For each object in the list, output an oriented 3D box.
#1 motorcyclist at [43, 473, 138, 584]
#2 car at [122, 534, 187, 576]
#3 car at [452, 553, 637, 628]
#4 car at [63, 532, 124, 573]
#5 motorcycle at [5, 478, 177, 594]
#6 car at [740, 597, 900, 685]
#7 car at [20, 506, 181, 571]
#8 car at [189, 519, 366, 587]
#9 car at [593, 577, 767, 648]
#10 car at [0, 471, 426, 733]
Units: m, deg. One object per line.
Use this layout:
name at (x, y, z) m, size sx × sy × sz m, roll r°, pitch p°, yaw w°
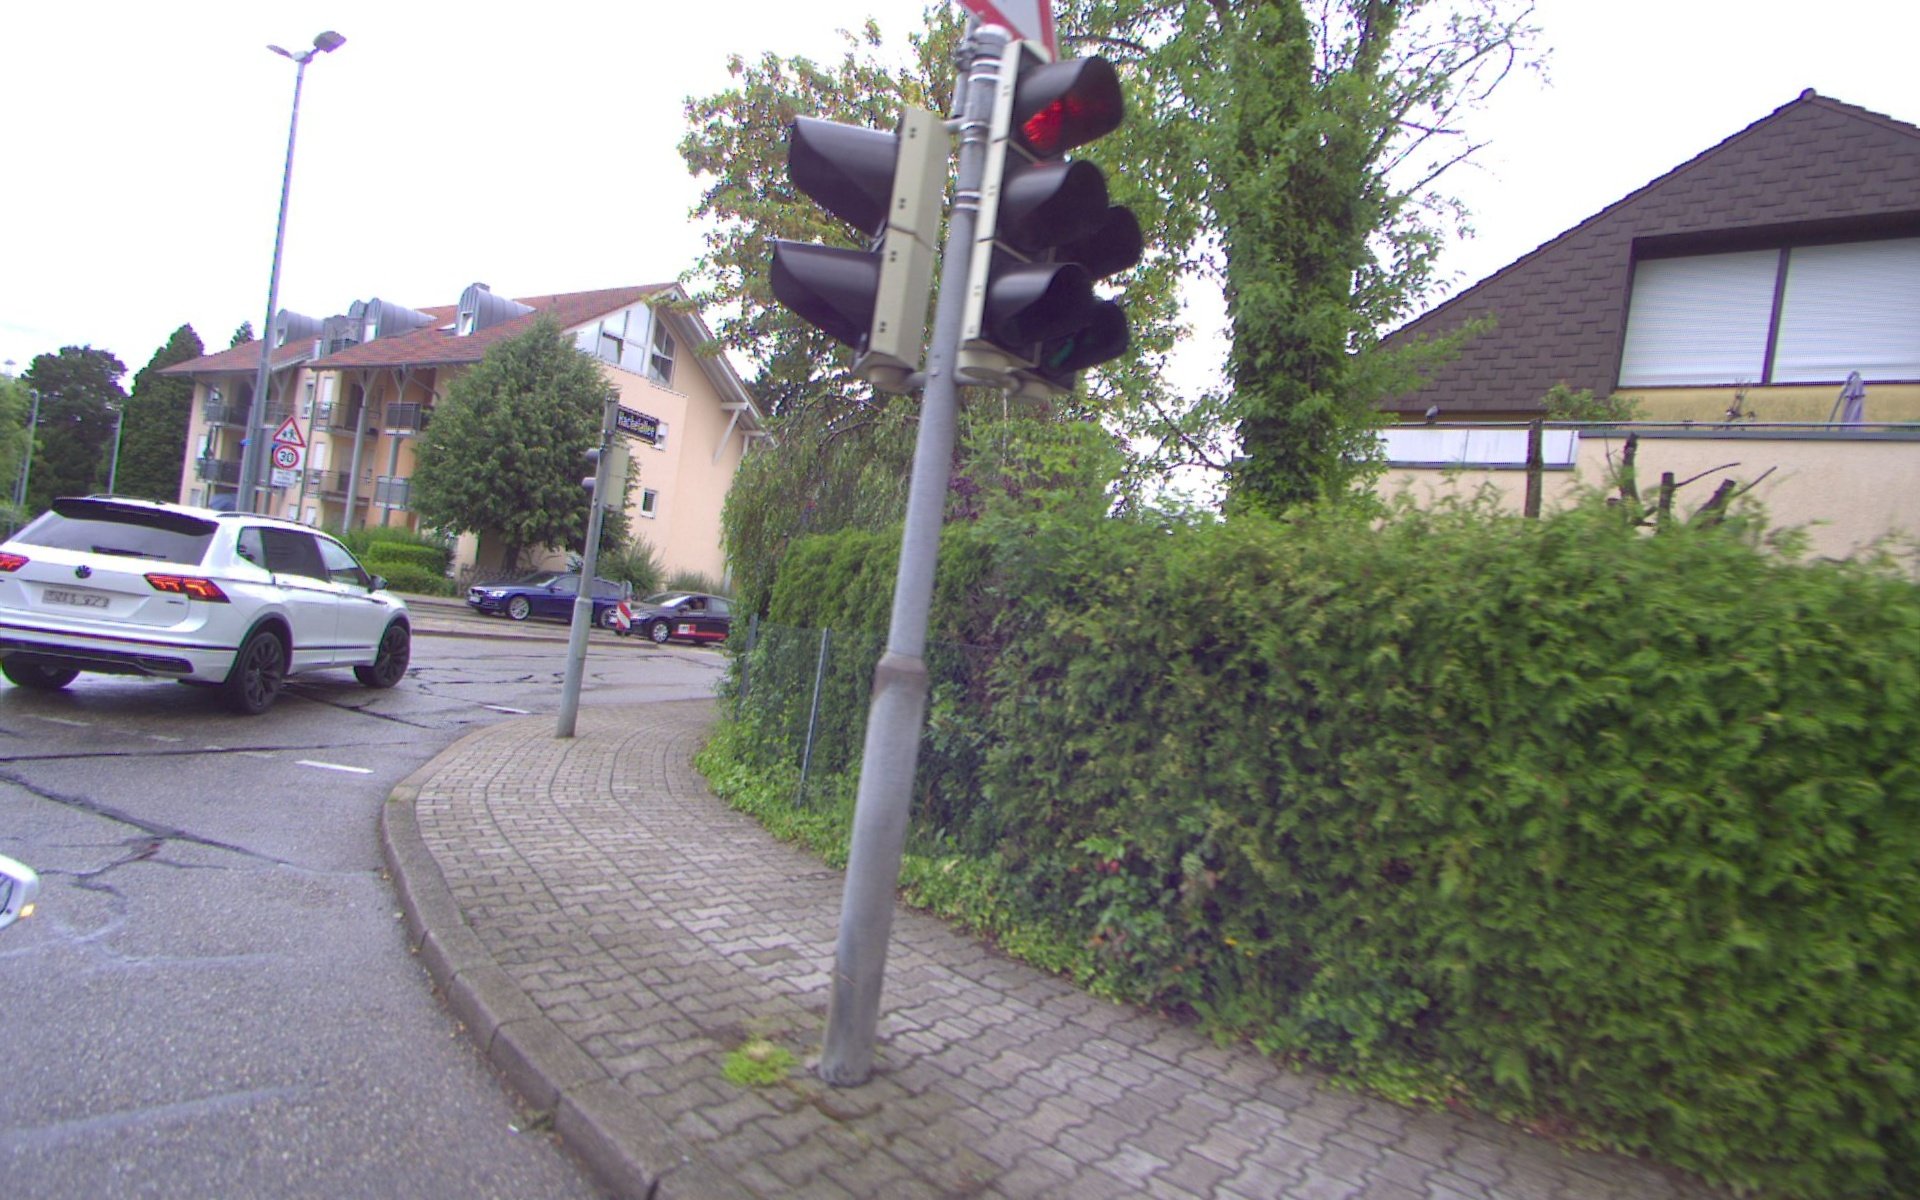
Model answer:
motorcyclist at (-13.996, -1.145, 16.197) m, size 0.761 × 1.645 × 0.935 m, roll 7°, pitch 2°, yaw 36°
car at (-35.542, -1.989, 44.359) m, size 1.756 × 1.425 × 3.813 m, roll 7°, pitch 0°, yaw -44°
car at (-11.392, -0.227, 27.845) m, size 1.733 × 1.452 × 4.339 m, roll 7°, pitch -1°, yaw 38°
car at (-38.740, -2.140, 44.950) m, size 1.756 × 1.425 × 3.813 m, roll 7°, pitch 0°, yaw -44°
motorcycle at (-13.986, -0.999, 16.237) m, size 0.785 × 1.645 × 1.914 m, roll 7°, pitch 1°, yaw 36°
car at (-3.204, 1.035, 23.848) m, size 1.739 × 1.526 × 4.004 m, roll 11°, pitch -2°, yaw 23°
car at (-46.588, -3.279, 54.688) m, size 2.808 × 2.224 × 6.012 m, roll 8°, pitch -3°, yaw 36°
car at (-21.244, -1.432, 31.434) m, size 1.797 × 1.456 × 4.186 m, roll 6°, pitch -2°, yaw 41°
car at (-7.448, 0.373, 27.133) m, size 1.794 × 1.425 × 4.190 m, roll 7°, pitch -1°, yaw 37°
car at (-6.946, -0.011, 9.508) m, size 1.895 × 1.743 × 4.258 m, roll 8°, pitch -1°, yaw -9°
